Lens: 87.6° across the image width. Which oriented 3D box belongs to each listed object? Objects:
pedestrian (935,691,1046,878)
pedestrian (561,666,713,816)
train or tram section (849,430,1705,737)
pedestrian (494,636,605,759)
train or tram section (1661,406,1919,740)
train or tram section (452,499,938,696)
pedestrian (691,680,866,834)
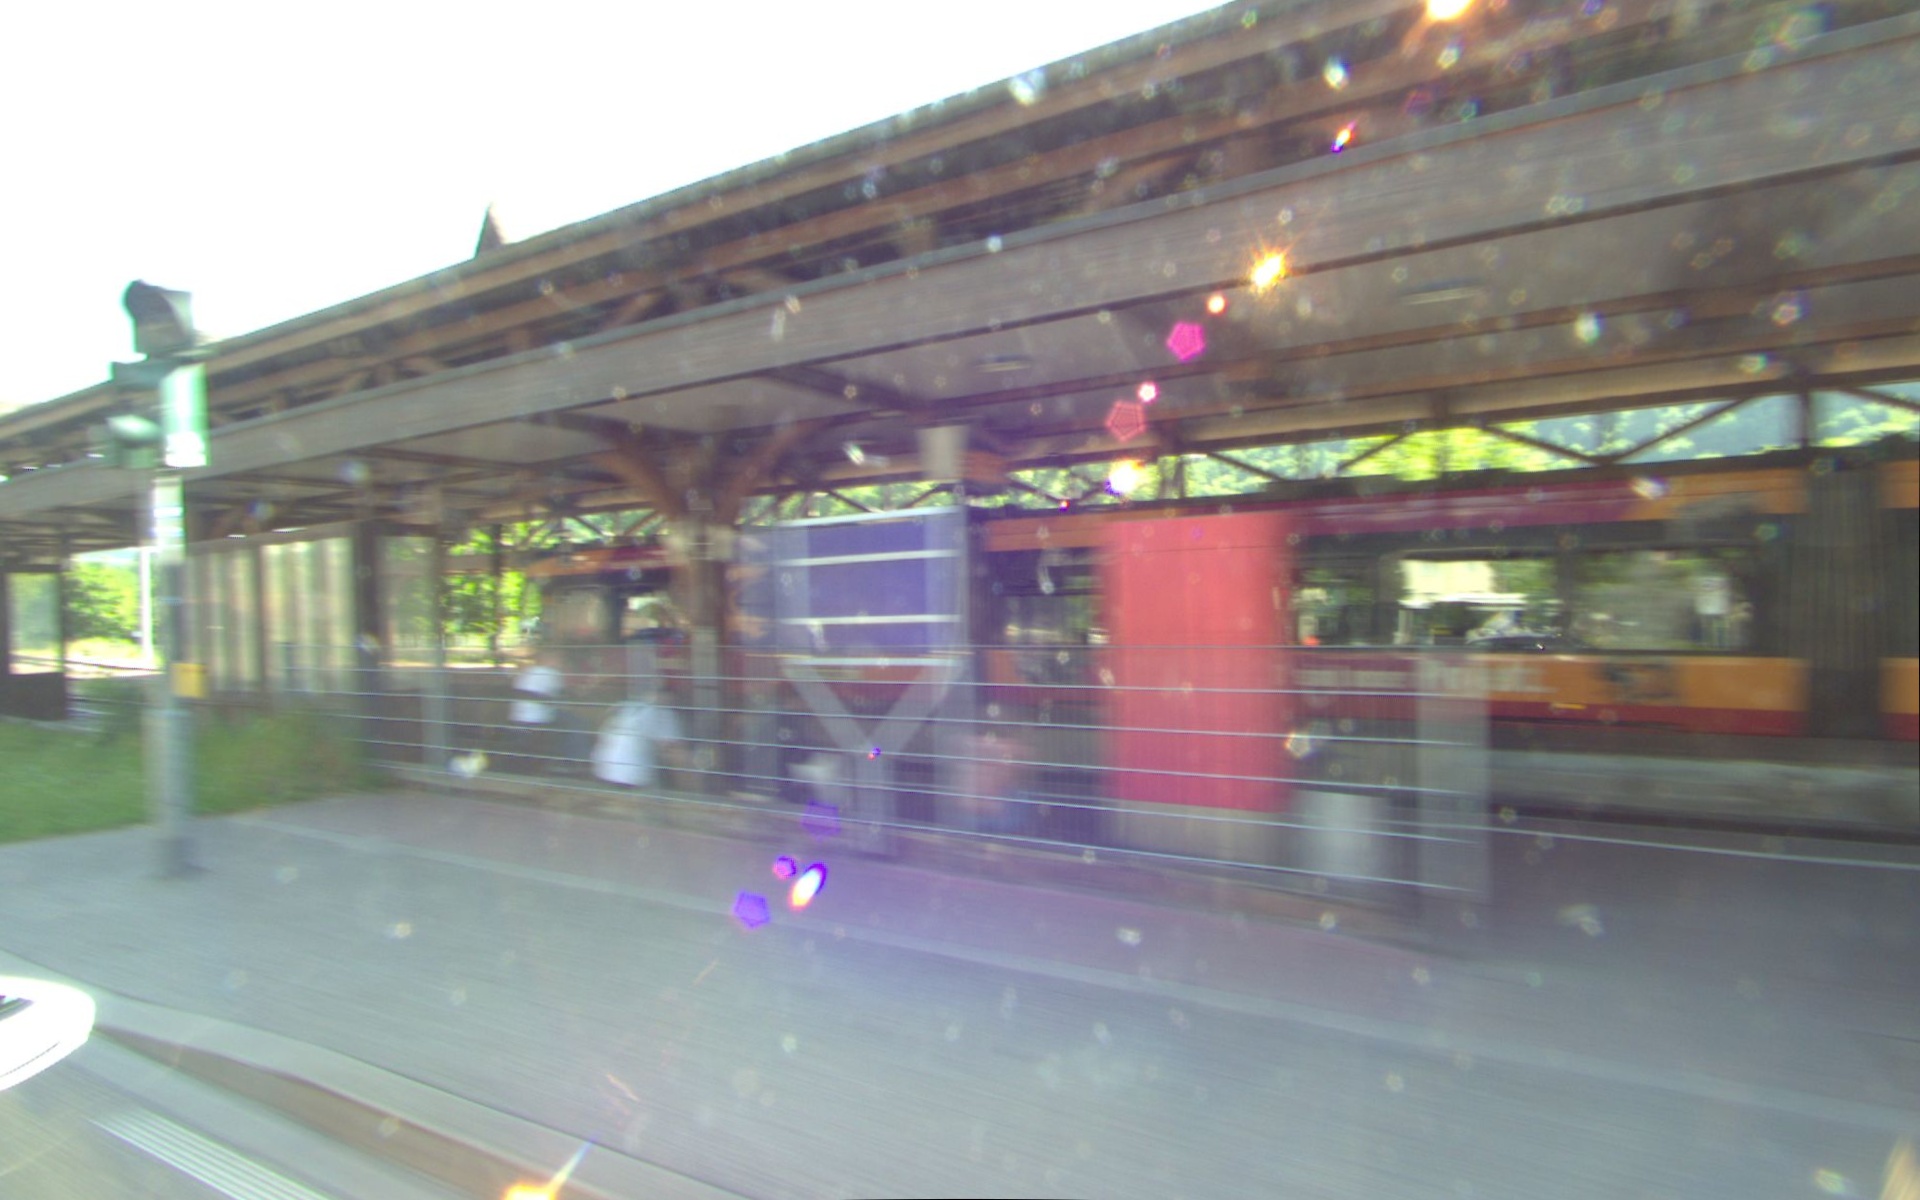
[{"bbox_3d":[0.190,1.044,5.852,0.400,0.978,0.617,1,-1,28],"label":"pedestrian"},{"bbox_3d":[-2.394,1.015,7.464,0.757,0.995,0.742,1,-1,28],"label":"pedestrian"},{"bbox_3d":[3.872,-0.046,15.380,11.872,3.407,2.783,-1,-2,31],"label":"train or tram section"},{"bbox_3d":[-4.045,0.938,9.896,0.657,1.131,0.742,1,-1,28],"label":"pedestrian"},{"bbox_3d":[15.017,-0.294,8.915,14.137,3.408,2.853,-1,-1,30],"label":"train or tram section"},{"bbox_3d":[-6.209,0.003,21.652,11.873,3.407,2.752,0,-2,32],"label":"train or tram section"},{"bbox_3d":[-1.211,1.022,6.783,0.795,0.885,0.844,1,-1,28],"label":"pedestrian"}]
